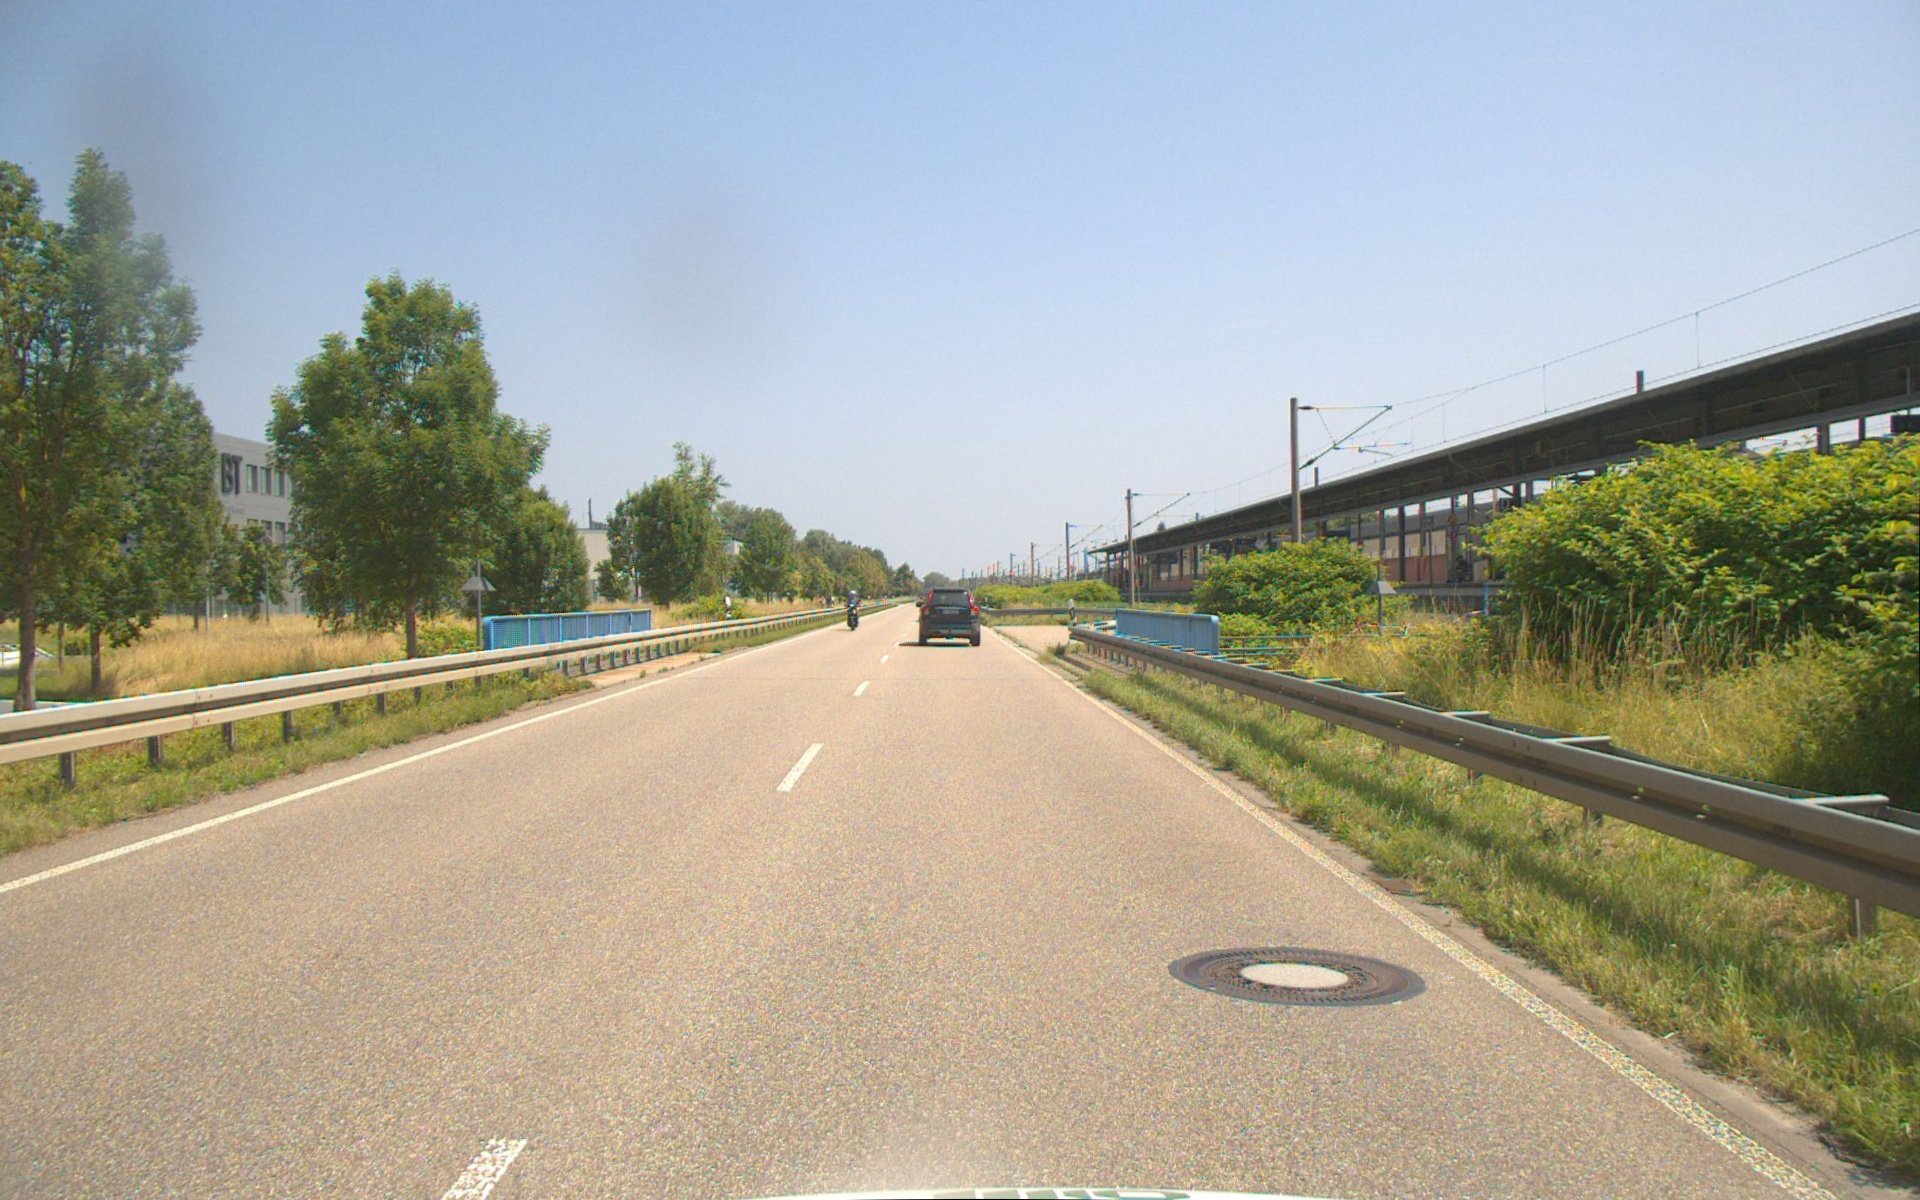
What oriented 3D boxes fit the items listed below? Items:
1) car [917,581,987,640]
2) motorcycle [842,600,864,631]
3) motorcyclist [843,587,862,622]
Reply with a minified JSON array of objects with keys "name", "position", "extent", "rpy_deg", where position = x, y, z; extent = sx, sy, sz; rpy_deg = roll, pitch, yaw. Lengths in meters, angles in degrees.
[{"name":"car","position":[-0.282,0.301,50.361],"extent":[1.954,1.730,3.997],"rpy_deg":[0,0,-3]},{"name":"motorcycle","position":[-4.490,0.638,69.622],"extent":[0.674,1.256,2.370],"rpy_deg":[0,0,2]},{"name":"motorcyclist","position":[-4.520,0.189,69.724],"extent":[0.711,1.490,0.987],"rpy_deg":[0,0,2]}]
